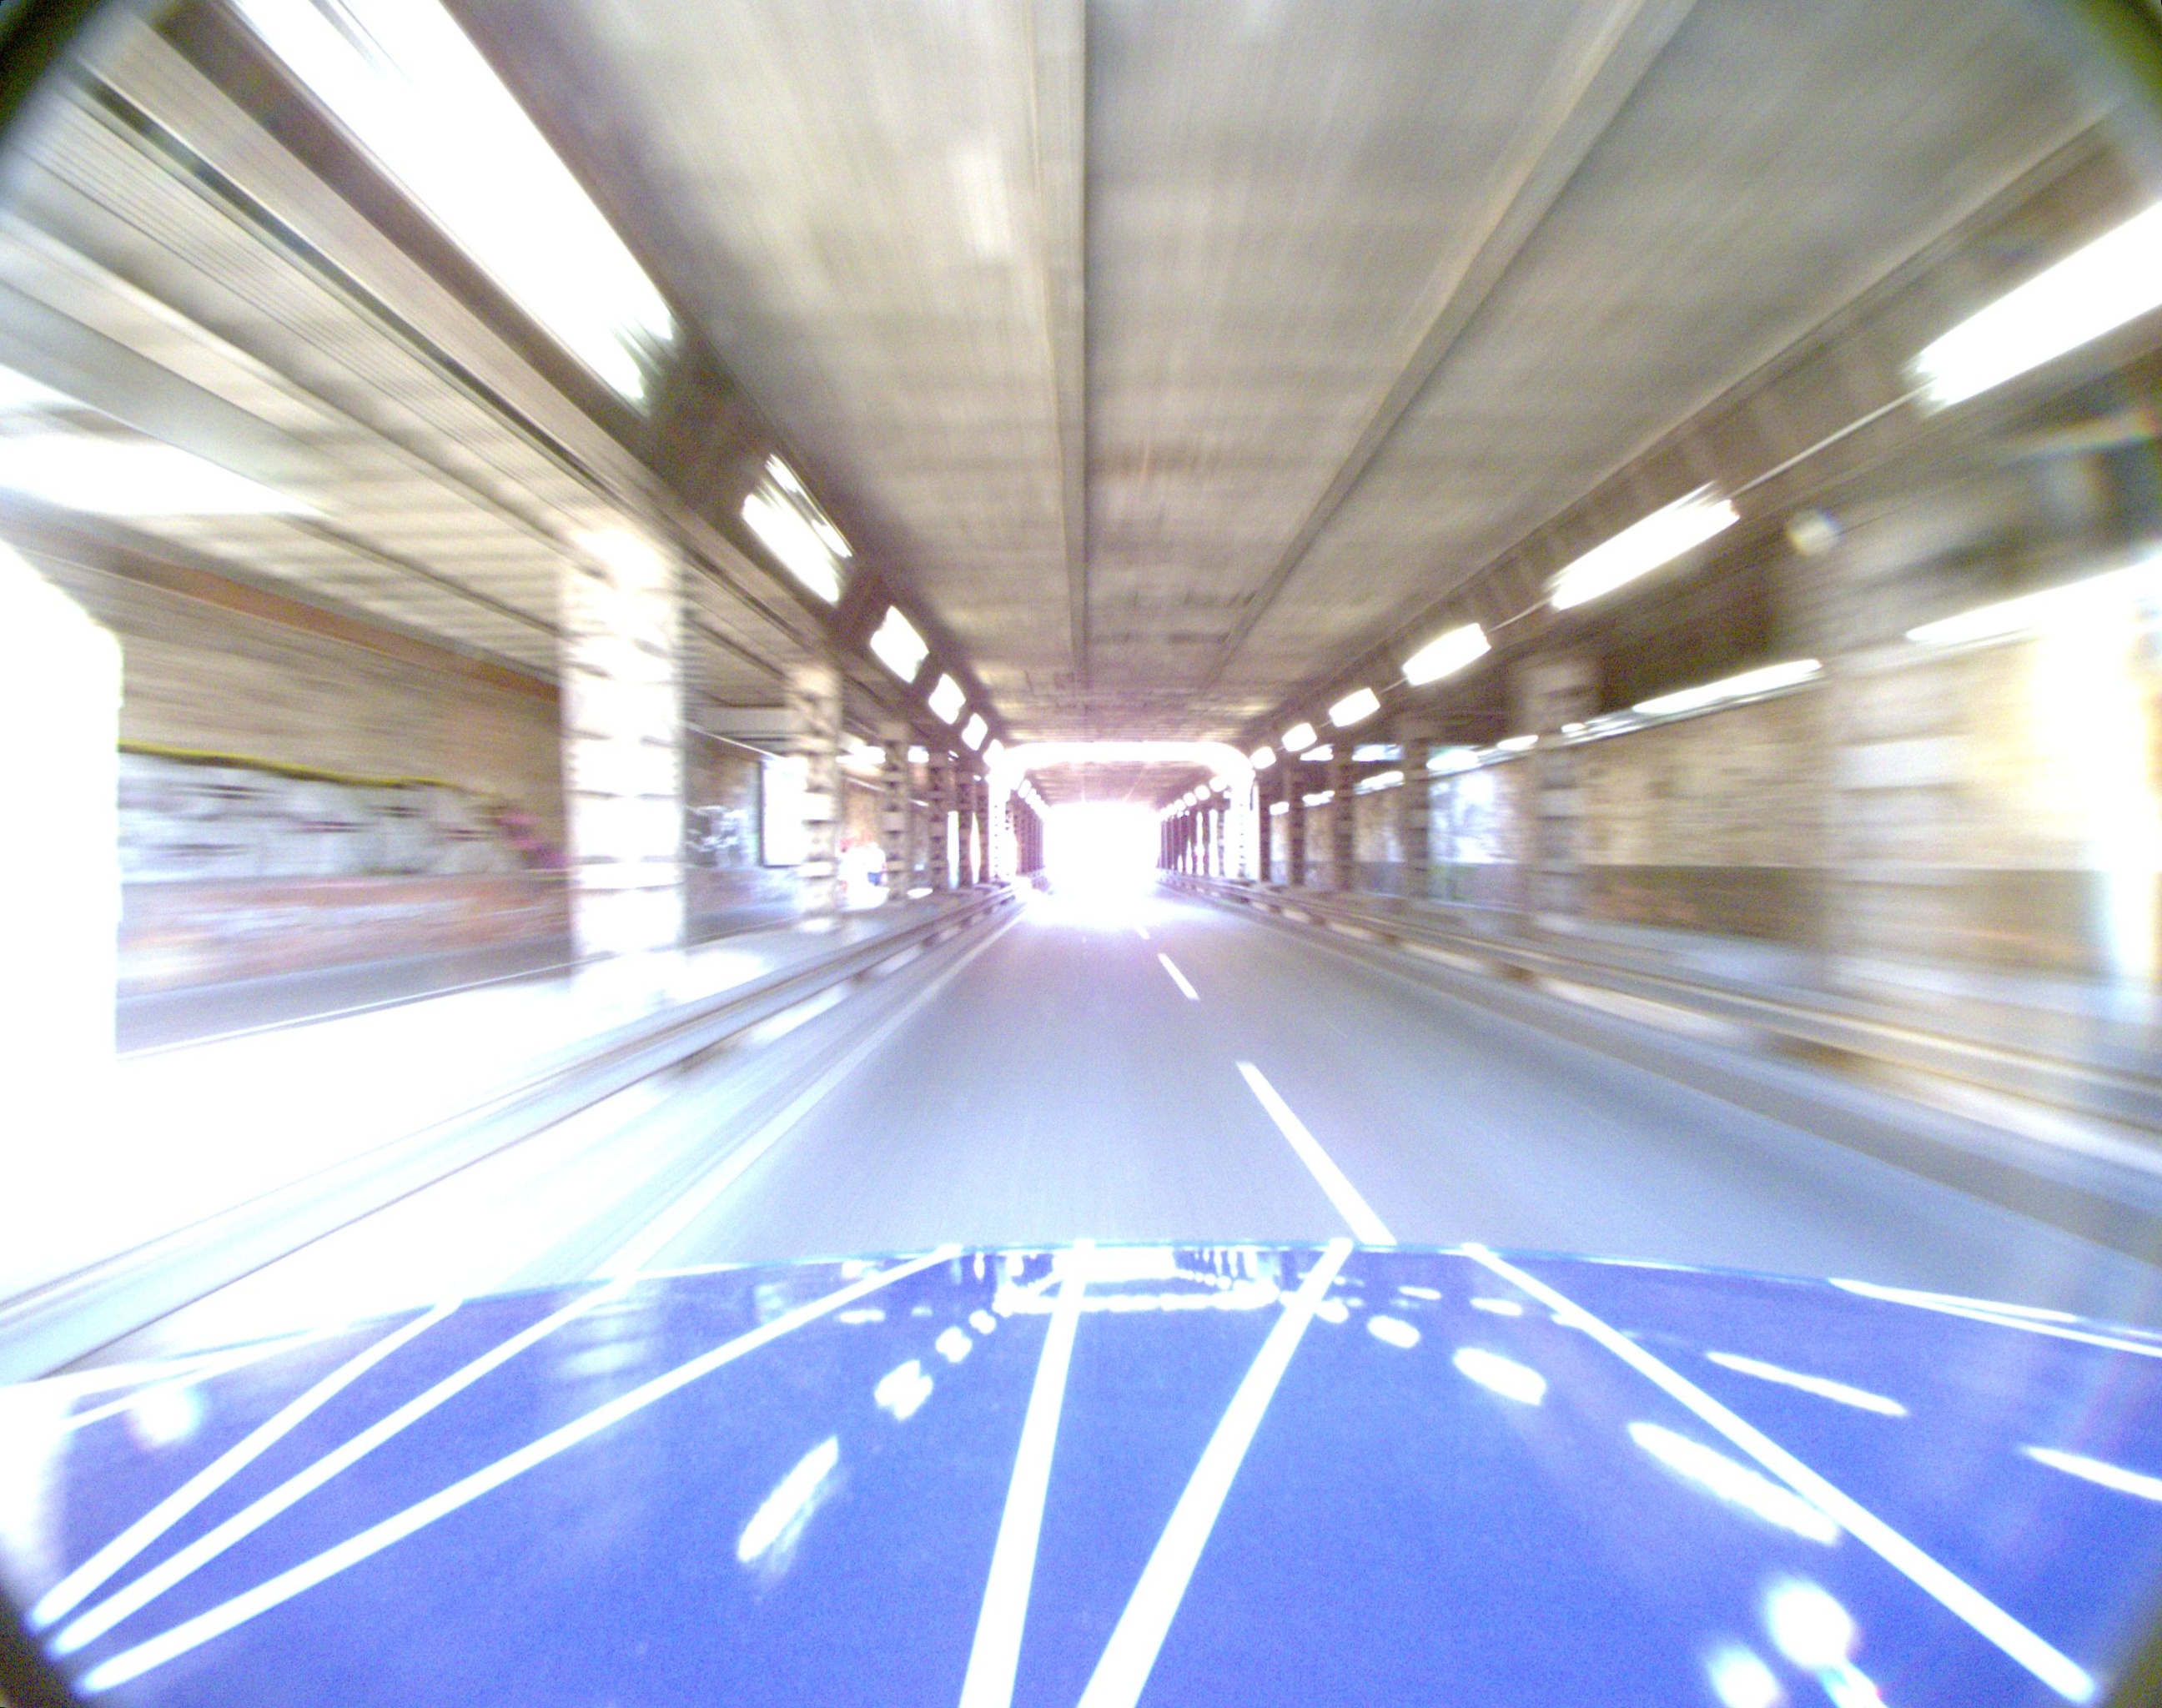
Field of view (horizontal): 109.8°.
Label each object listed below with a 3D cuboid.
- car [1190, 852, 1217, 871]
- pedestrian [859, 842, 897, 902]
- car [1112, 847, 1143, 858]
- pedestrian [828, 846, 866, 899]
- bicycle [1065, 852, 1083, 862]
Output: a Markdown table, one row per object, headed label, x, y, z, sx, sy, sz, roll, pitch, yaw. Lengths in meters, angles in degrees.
| label | x | y | z | sx | sy | sz | roll | pitch | yaw |
| --- | --- | --- | --- | --- | --- | --- | --- | --- | --- |
| car | 11.135 | 0.665 | 68.723 | 1.953 | 1.509 | 4.391 | 1 | 1 | 15 |
| pedestrian | -6.468 | 0.574 | 24.253 | 0.882 | 1.824 | 0.922 | 3 | 0 | -3 |
| car | 6.713 | -0.190 | 110.466 | 4.323 | 1.590 | 1.858 | 0 | 1 | -5 |
| pedestrian | -7.607 | 0.601 | 24.725 | 0.919 | 1.646 | 0.886 | 3 | 0 | -3 |
| bicycle | -1.127 | 0.541 | 123.972 | 2.947 | 1.607 | 0.908 | 0 | 1 | 34 |
